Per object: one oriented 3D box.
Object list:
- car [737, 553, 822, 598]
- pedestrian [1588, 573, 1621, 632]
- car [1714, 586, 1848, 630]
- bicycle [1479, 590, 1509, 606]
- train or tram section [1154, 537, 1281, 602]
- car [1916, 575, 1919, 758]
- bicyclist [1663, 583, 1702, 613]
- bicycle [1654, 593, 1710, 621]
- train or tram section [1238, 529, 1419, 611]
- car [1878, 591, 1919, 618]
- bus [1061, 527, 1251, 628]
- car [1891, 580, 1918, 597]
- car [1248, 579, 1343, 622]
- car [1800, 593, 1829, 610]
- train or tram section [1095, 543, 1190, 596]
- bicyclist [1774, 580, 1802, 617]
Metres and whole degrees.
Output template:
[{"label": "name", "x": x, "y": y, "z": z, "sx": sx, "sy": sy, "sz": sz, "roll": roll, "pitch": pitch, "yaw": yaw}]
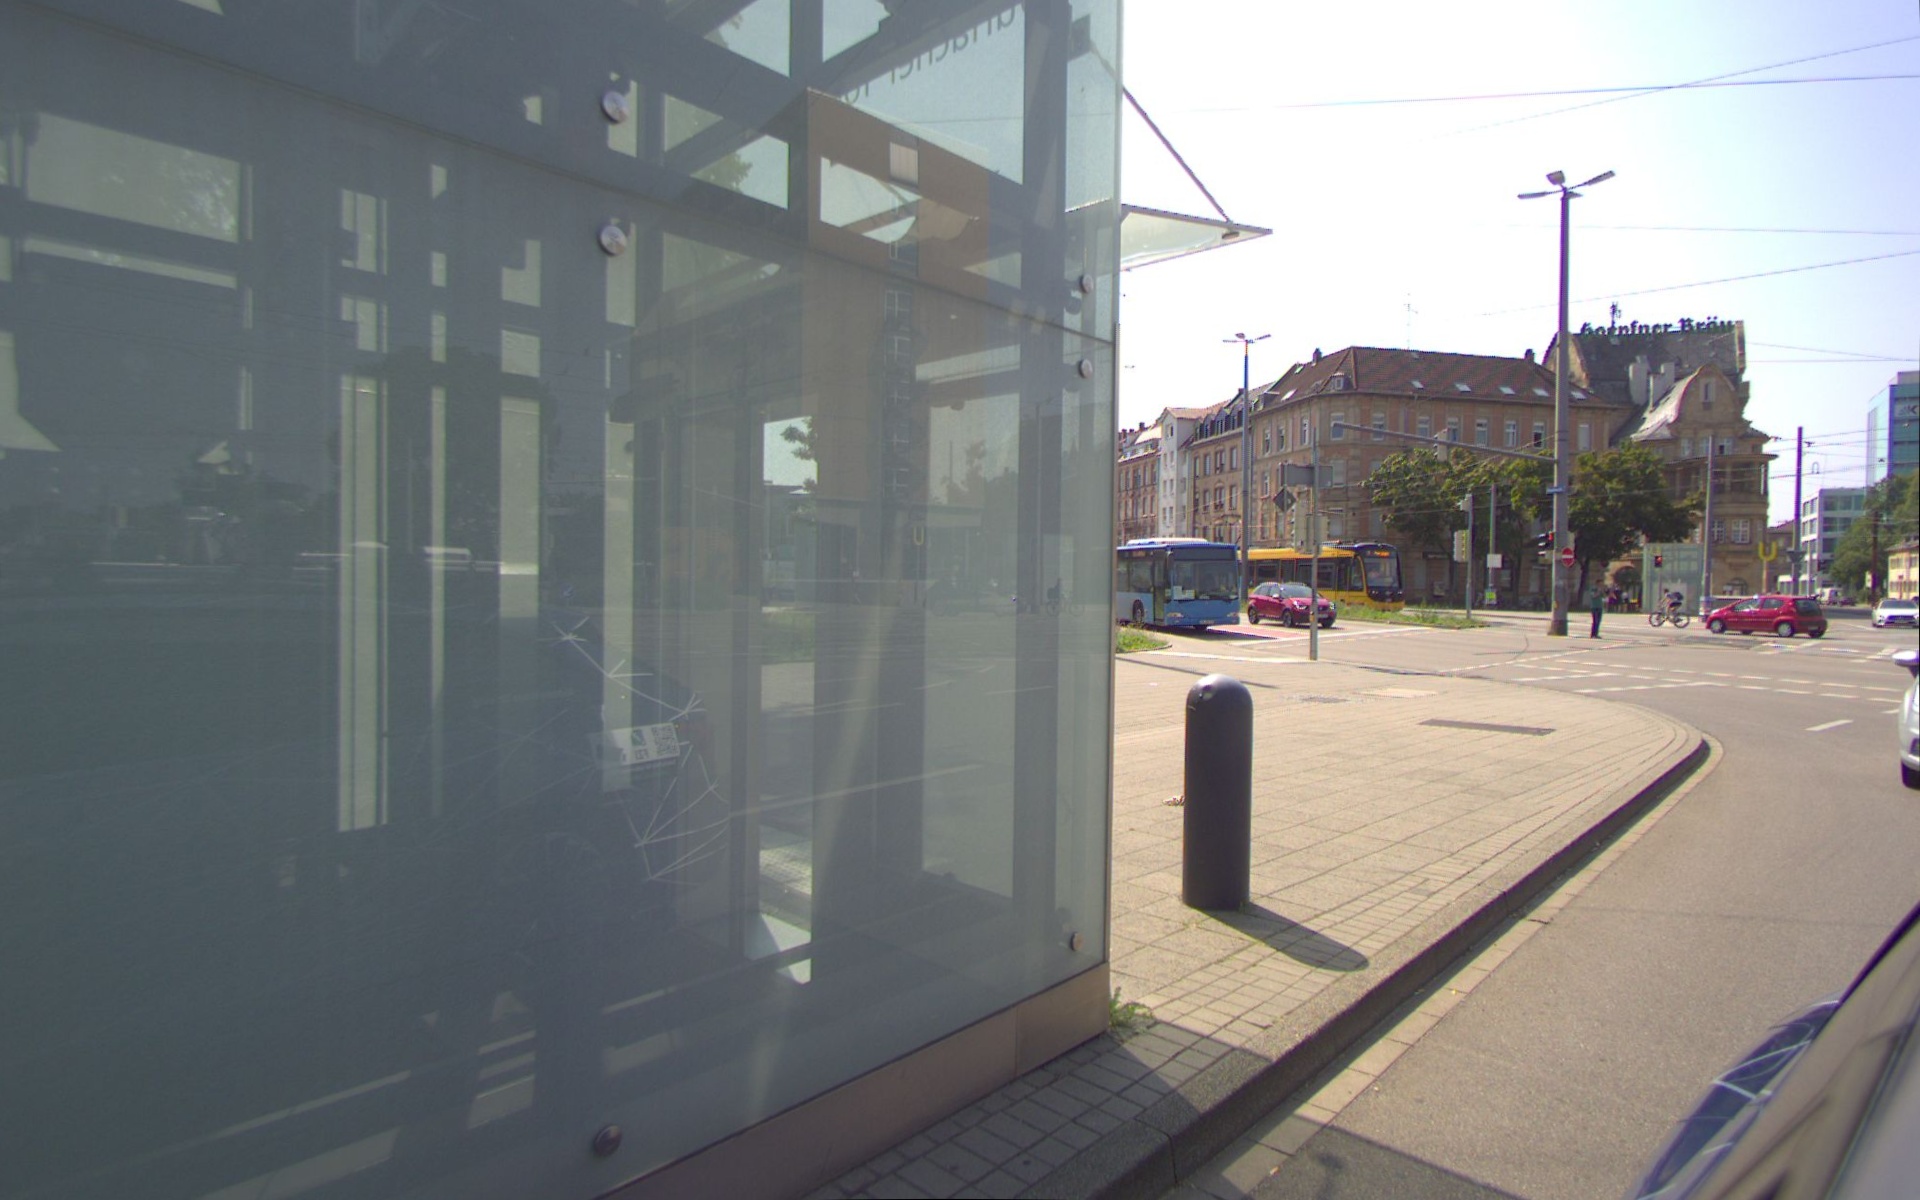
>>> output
[{"label": "car", "x": -11.491, "y": -1.551, "z": 64.755, "sx": 5.130, "sy": 2.617, "sz": 1.844, "roll": 2, "pitch": 0, "yaw": -44}, {"label": "pedestrian", "x": 19.076, "y": 0.067, "z": 29.955, "sx": 0.716, "sy": 1.708, "sz": 0.793, "roll": 2, "pitch": 0, "yaw": 40}, {"label": "car", "x": 28.658, "y": 0.249, "z": 35.436, "sx": 1.485, "sy": 1.426, "sz": 3.366, "roll": 1, "pitch": 1, "yaw": -15}, {"label": "bicycle", "x": 31.849, "y": -0.124, "z": 60.346, "sx": 1.751, "sy": 0.969, "sz": 0.463, "roll": 1, "pitch": 1, "yaw": -17}, {"label": "train or tram section", "x": 15.764, "y": -1.909, "z": 63.418, "sx": 2.541, "sy": 3.604, "sz": 12.243, "roll": 1, "pitch": 2, "yaw": -12}, {"label": "car", "x": 9.250, "y": 0.596, "z": 8.512, "sx": 1.687, "sy": 1.615, "sz": 4.294, "roll": 2, "pitch": 2, "yaw": 43}, {"label": "bicyclist", "x": 30.897, "y": -0.080, "z": 43.283, "sx": 1.079, "sy": 1.249, "sz": 0.866, "roll": 0, "pitch": 1, "yaw": -23}, {"label": "bicycle", "x": 30.840, "y": 0.298, "z": 43.255, "sx": 0.698, "sy": 1.125, "sz": 1.859, "roll": 0, "pitch": 1, "yaw": -25}, {"label": "train or tram section", "x": 18.223, "y": -1.526, "z": 51.429, "sx": 2.541, "sy": 3.604, "sz": 12.243, "roll": 1, "pitch": 2, "yaw": -12}, {"label": "car", "x": 47.082, "y": 0.236, "z": 50.373, "sx": 1.578, "sy": 1.304, "sz": 3.680, "roll": 3, "pitch": 1, "yaw": 35}, {"label": "bus", "x": 6.720, "y": -0.842, "z": 37.440, "sx": 2.678, "sy": 3.102, "sz": 12.105, "roll": 1, "pitch": 1, "yaw": -10}, {"label": "car", "x": 116.067, "y": -1.376, "z": 124.389, "sx": 1.989, "sy": 1.928, "sz": 3.946, "roll": 2, "pitch": 0, "yaw": 37}, {"label": "car", "x": 12.044, "y": -0.019, "z": 36.524, "sx": 1.596, "sy": 1.490, "sz": 3.779, "roll": 0, "pitch": 1, "yaw": -11}, {"label": "car", "x": 73.425, "y": 0.122, "z": 86.977, "sx": 1.365, "sy": 1.415, "sz": 3.218, "roll": 2, "pitch": 0, "yaw": 32}, {"label": "train or tram section", "x": 13.293, "y": -2.295, "z": 75.405, "sx": 2.541, "sy": 3.604, "sz": 12.243, "roll": 1, "pitch": 2, "yaw": -12}, {"label": "bicyclist", "x": 34.621, "y": -0.063, "z": 42.318, "sx": 0.644, "sy": 1.499, "sz": 0.645, "roll": 1, "pitch": 1, "yaw": -17}]
